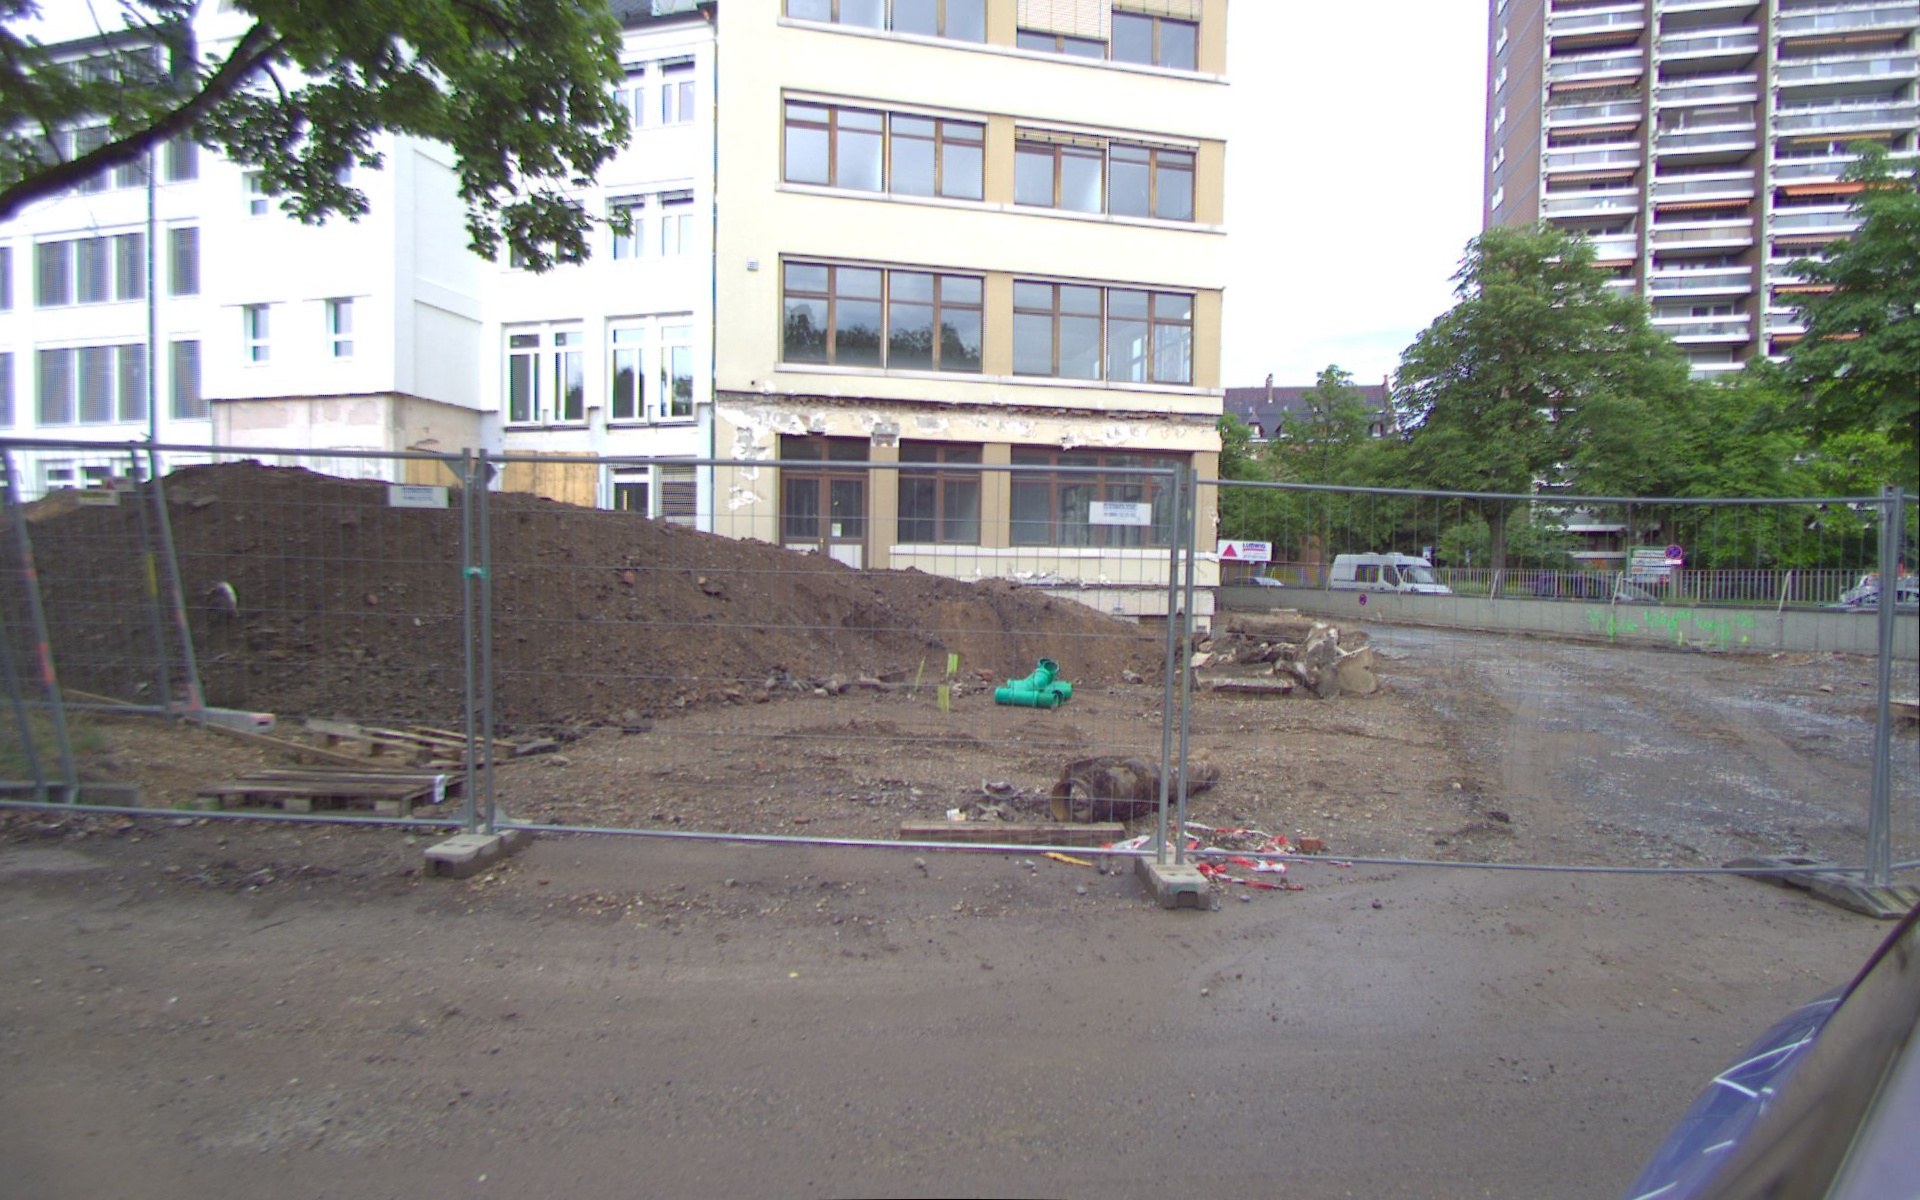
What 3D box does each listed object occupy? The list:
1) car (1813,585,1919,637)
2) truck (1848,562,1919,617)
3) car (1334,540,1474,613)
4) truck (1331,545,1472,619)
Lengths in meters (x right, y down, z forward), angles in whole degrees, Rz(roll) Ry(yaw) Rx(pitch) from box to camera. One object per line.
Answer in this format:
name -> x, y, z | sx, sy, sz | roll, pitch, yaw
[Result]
car -> 28.639, 0.330, 30.679 | 1.710, 1.446, 4.009 | 0, 2, -13
truck -> 33.809, -0.431, 36.428 | 1.985, 1.871, 5.007 | 1, 2, 32
car -> 17.009, -0.946, 39.150 | 2.075, 2.634, 5.504 | -1, 2, -13
truck -> 16.902, -0.752, 39.138 | 2.075, 2.634, 5.504 | -1, 2, -13
